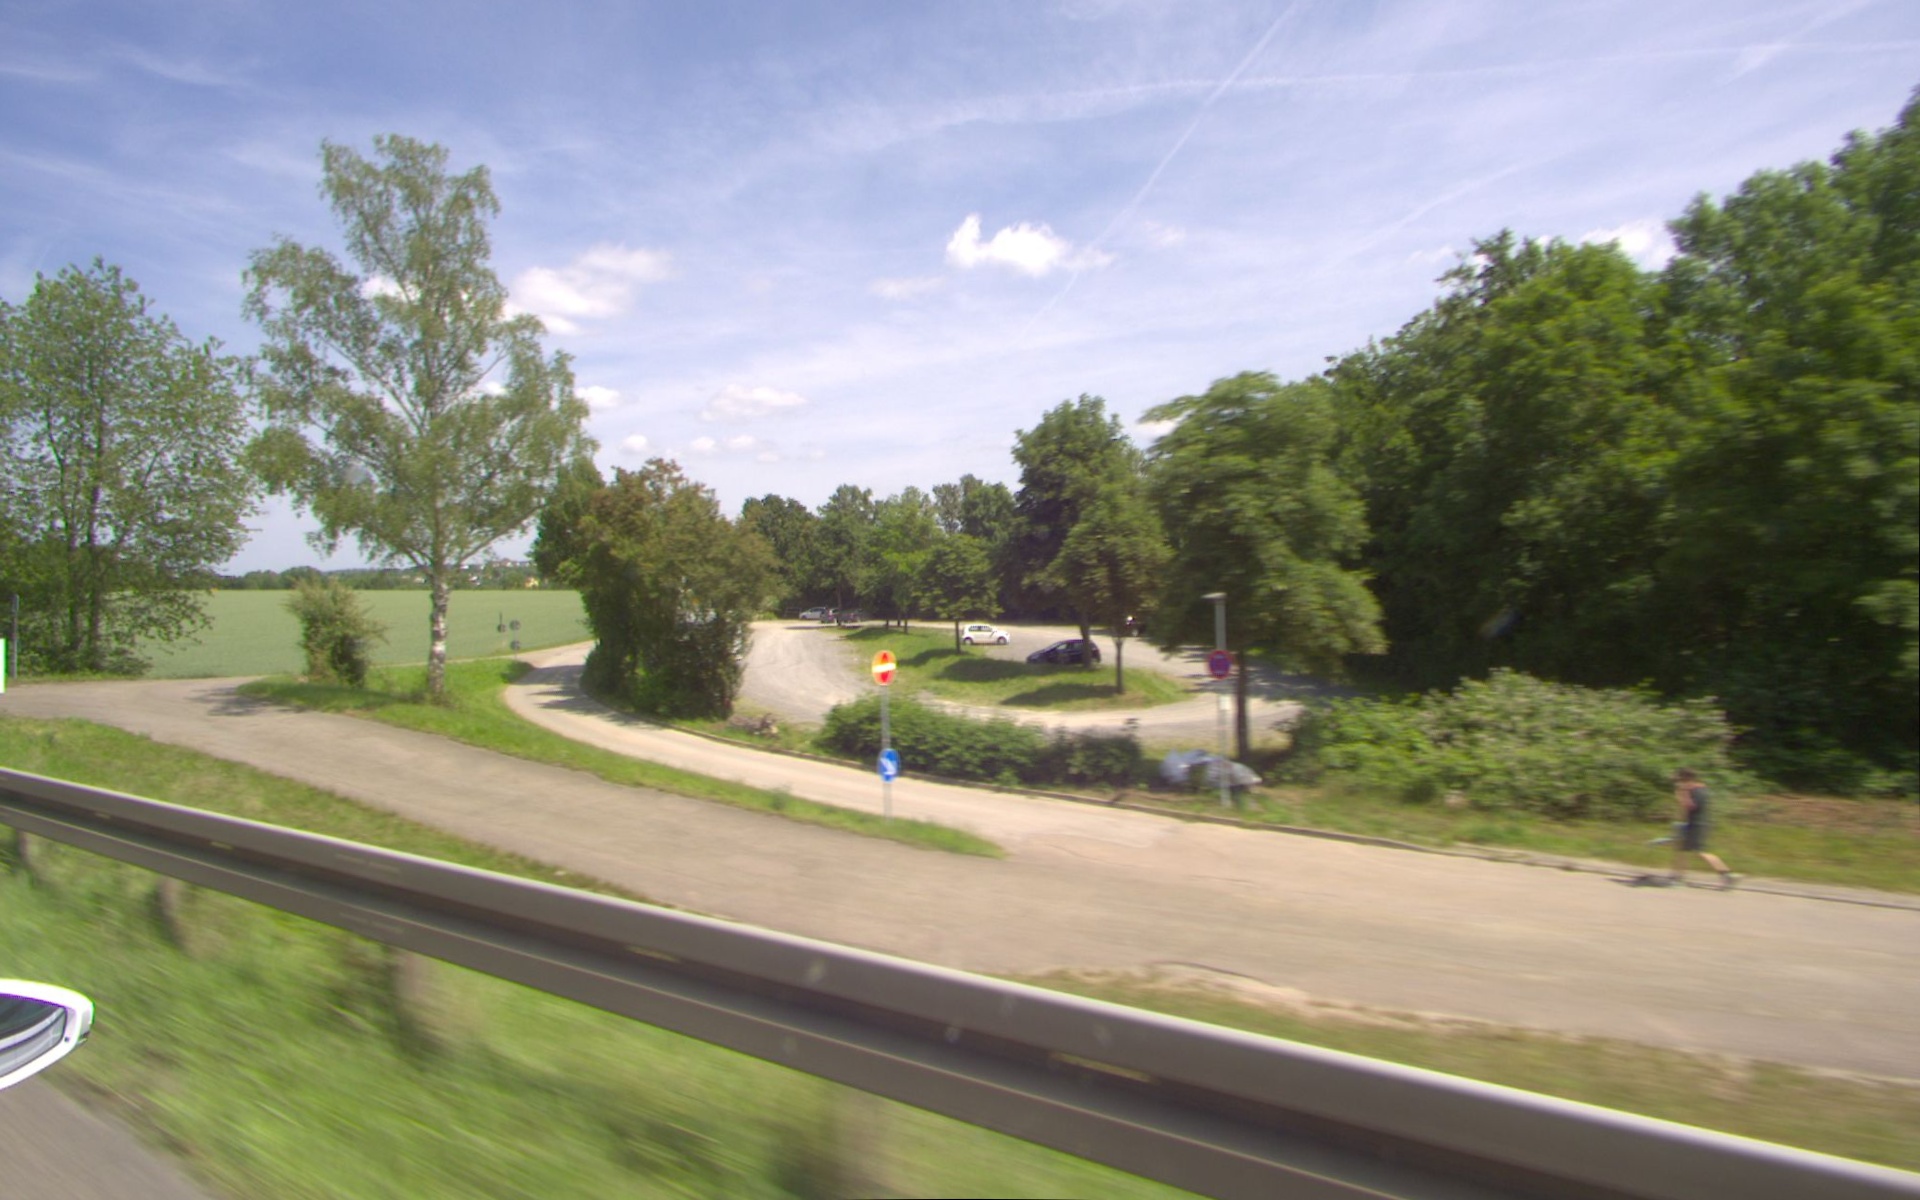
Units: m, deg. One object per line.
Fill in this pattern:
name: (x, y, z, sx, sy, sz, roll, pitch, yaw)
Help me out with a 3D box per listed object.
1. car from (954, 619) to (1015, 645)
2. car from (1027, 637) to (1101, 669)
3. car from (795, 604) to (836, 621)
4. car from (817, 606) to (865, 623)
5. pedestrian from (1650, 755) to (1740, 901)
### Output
car: (1.709, 2.253, 71.370, 4.260, 1.681, 1.999, -1, 2, -1)
car: (5.442, 2.767, 52.599, 3.624, 1.512, 1.693, -1, 2, -2)
car: (-16.206, 1.431, 112.254, 3.930, 1.564, 1.994, -3, 3, 19)
car: (-12.630, 1.497, 106.427, 4.859, 1.726, 1.991, 1, 0, 30)
pedestrian: (10.691, 3.285, 14.600, 0.945, 1.836, 0.883, 0, 3, 30)
